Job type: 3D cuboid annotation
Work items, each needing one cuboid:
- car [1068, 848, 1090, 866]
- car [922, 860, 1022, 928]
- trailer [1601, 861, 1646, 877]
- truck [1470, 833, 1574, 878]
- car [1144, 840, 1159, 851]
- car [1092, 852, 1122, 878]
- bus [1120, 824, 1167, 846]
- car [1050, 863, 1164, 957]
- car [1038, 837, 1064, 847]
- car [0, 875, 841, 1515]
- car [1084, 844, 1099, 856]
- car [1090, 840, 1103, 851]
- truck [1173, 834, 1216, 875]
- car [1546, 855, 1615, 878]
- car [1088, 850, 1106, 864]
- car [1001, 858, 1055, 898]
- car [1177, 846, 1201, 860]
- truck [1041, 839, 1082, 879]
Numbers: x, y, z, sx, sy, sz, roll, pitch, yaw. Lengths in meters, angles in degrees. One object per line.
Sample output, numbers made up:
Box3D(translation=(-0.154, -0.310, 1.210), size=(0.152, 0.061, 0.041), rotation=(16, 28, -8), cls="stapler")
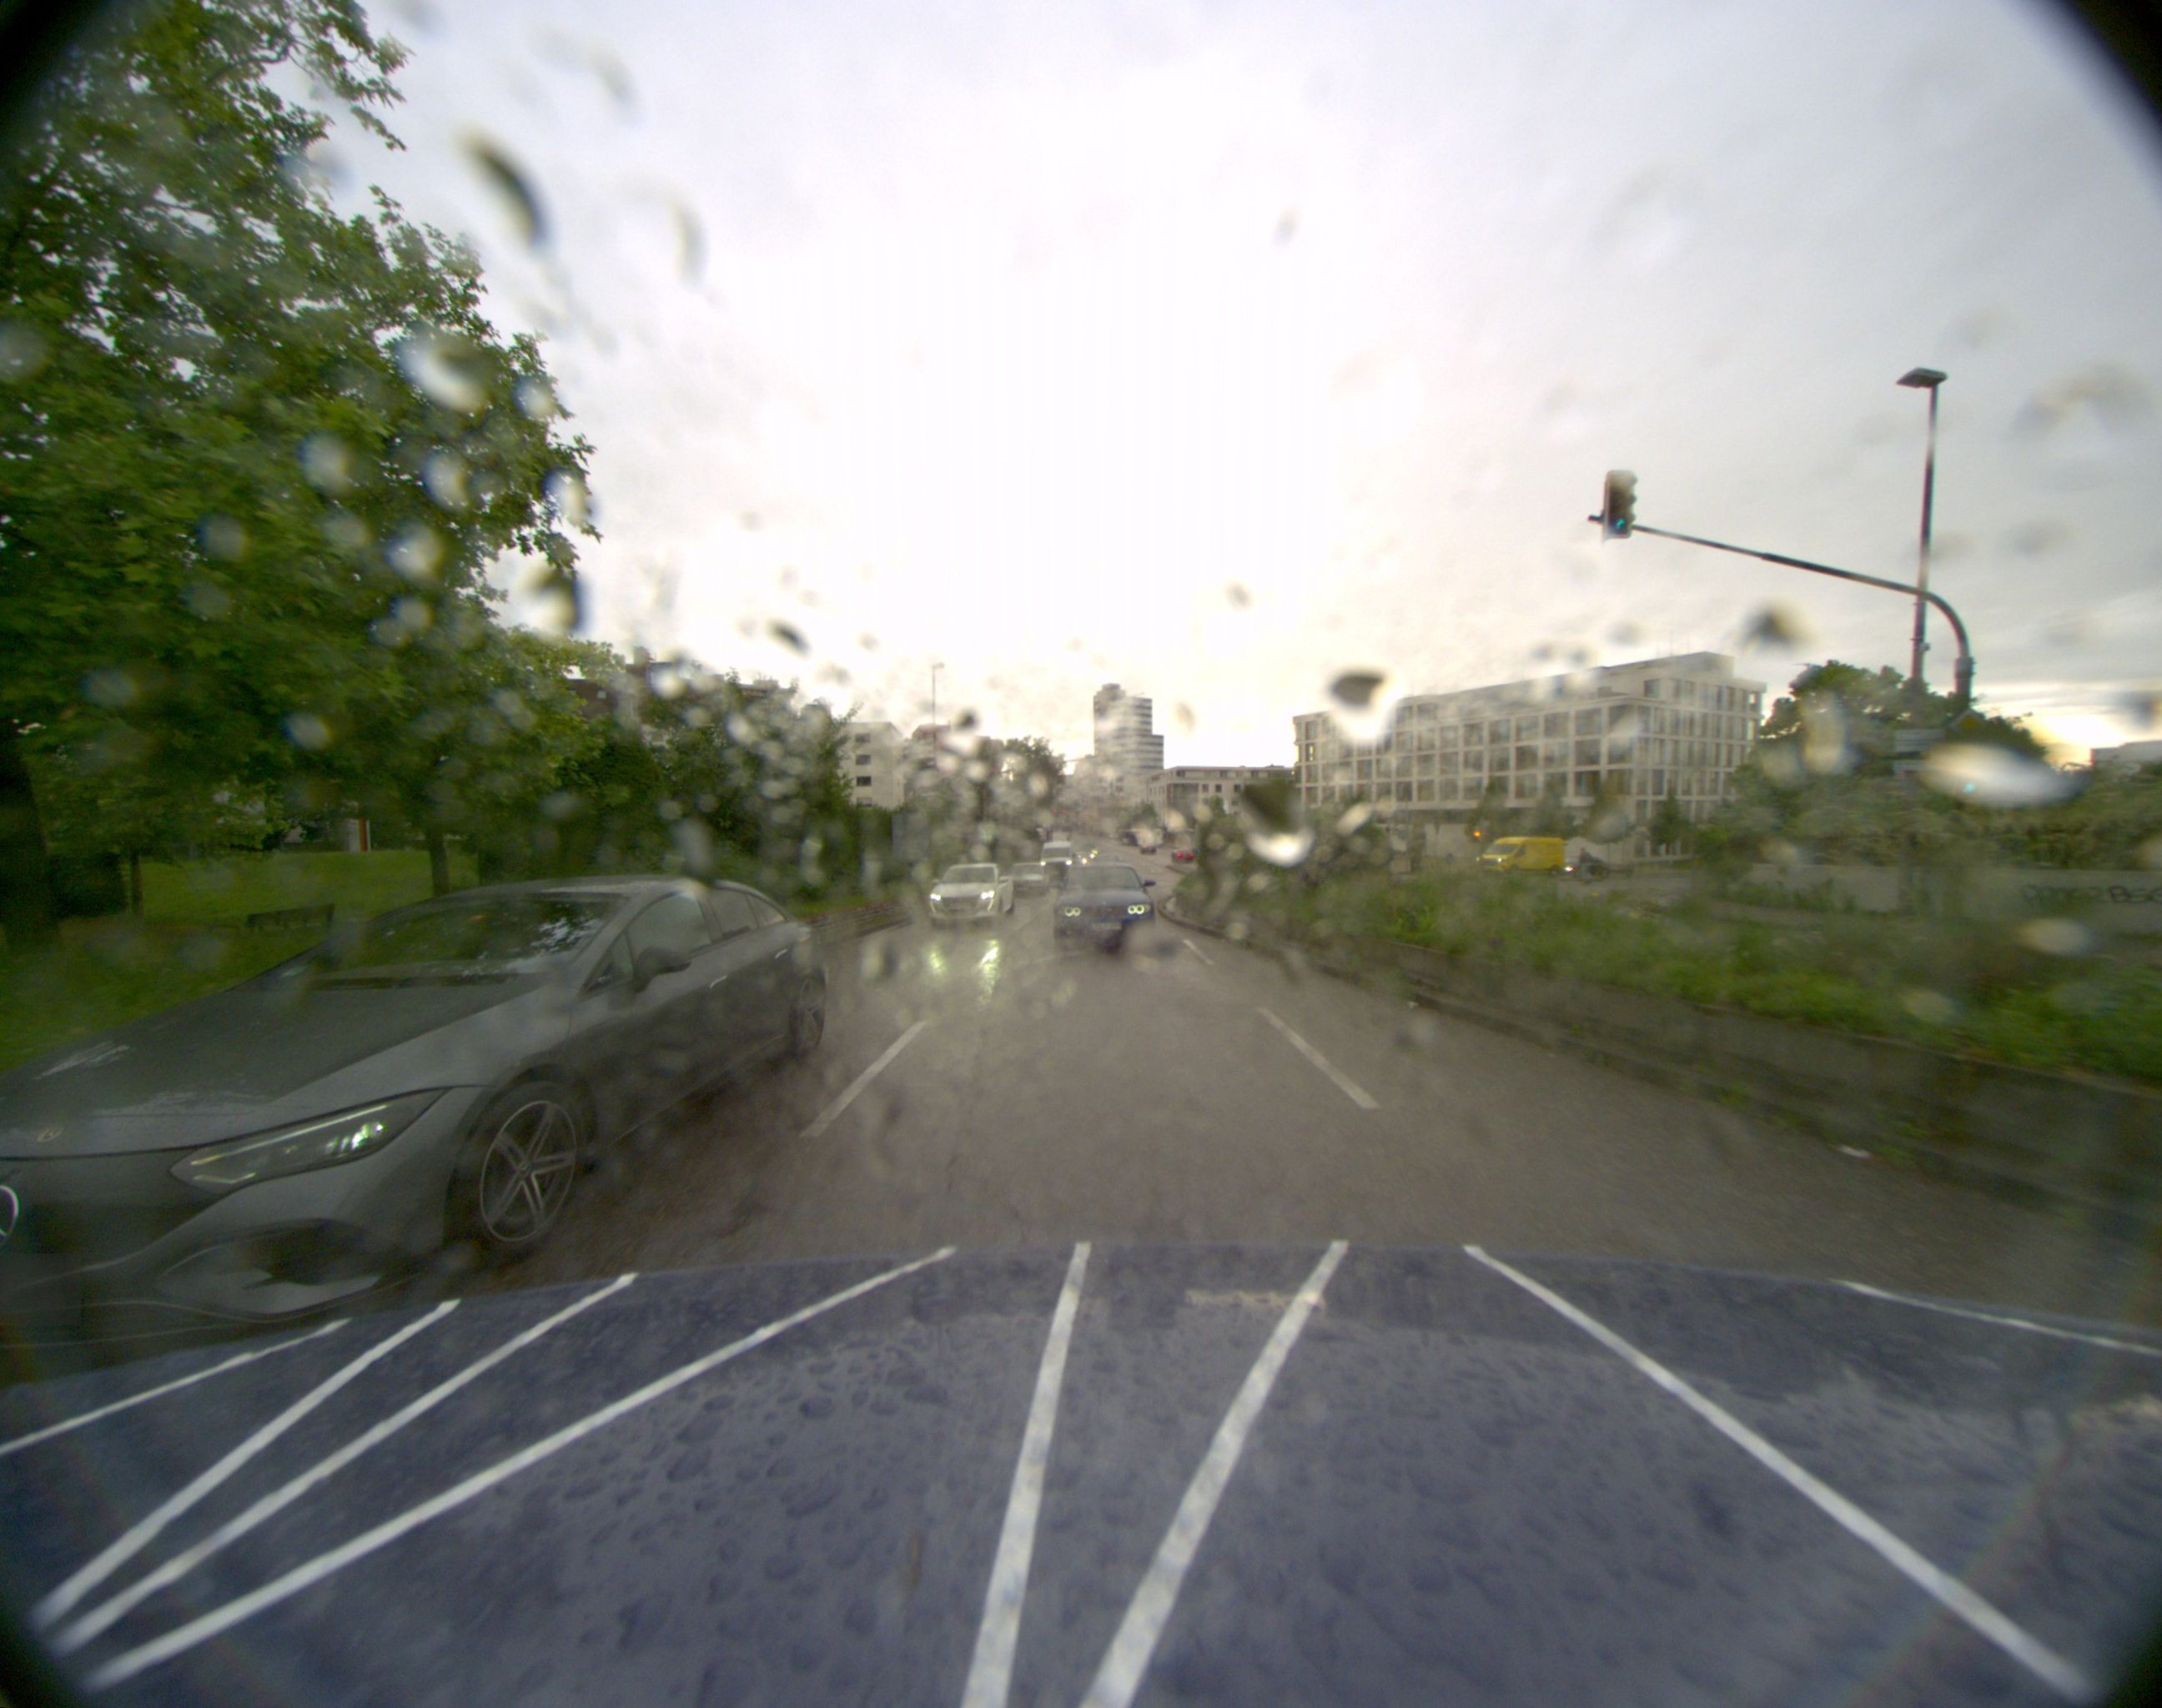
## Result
Box3D(translation=(-0.168, 0.276, 72.691), size=(1.998, 1.543, 4.000), rotation=(-1, 0, 1), cls="car")
Box3D(translation=(-2.686, 0.943, 19.648), size=(1.717, 1.389, 4.036), rotation=(-3, 1, 4), cls="car")
Box3D(translation=(36.406, 1.015, 50.970), size=(2.290, 0.973, 1.604), rotation=(0, 2, -30), cls="trailer")
Box3D(translation=(25.987, 0.084, 44.719), size=(6.185, 2.524, 2.223), rotation=(0, 2, -27), cls="truck")
Box3D(translation=(10.103, -1.262, 109.205), size=(1.907, 1.543, 4.074), rotation=(0, 1, 3), cls="car")
Box3D(translation=(1.661, 0.633, 47.000), size=(1.717, 1.369, 3.735), rotation=(-3, 1, 4), cls="car")
Box3D(translation=(11.742, -3.622, 145.473), size=(2.955, 3.973, 18.199), rotation=(0, 2, -15), cls="bus")
Box3D(translation=(0.536, 0.923, 14.047), size=(1.786, 1.335, 3.705), rotation=(-2, 1, 4), cls="car")
Box3D(translation=(-4.887, -1.883, 121.817), size=(3.999, 1.412, 1.998), rotation=(-3, 2, -6), cls="car")
Box3D(translation=(-3.096, 0.984, 4.252), size=(1.836, 1.436, 4.550), rotation=(-3, 1, 2), cls="car")
Box3D(translation=(1.471, -0.514, 103.276), size=(1.998, 1.543, 4.000), rotation=(-2, 0, 1), cls="car")
Box3D(translation=(2.368, -1.294, 116.148), size=(1.998, 1.543, 4.000), rotation=(-2, 0, 1), cls="car")
Box3D(translation=(7.174, -0.050, 48.667), size=(2.168, 2.426, 6.200), rotation=(-1, 1, 4), cls="truck")
Box3D(translation=(32.174, 0.784, 48.937), size=(4.363, 1.310, 1.860), rotation=(0, 2, -30), cls="car")
Box3D(translation=(1.815, 0.305, 87.743), size=(1.998, 1.543, 4.000), rotation=(-2, 0, 1), cls="car")
Box3D(translation=(-2.166, 0.964, 31.842), size=(1.717, 1.369, 3.735), rotation=(-3, 1, 4), cls="car")
Box3D(translation=(11.233, -0.121, 79.374), size=(1.998, 1.406, 4.430), rotation=(-1, 2, 3), cls="car")
Box3D(translation=(-1.209, 0.269, 50.364), size=(2.168, 2.426, 6.200), rotation=(-1, 1, 4), cls="truck")
